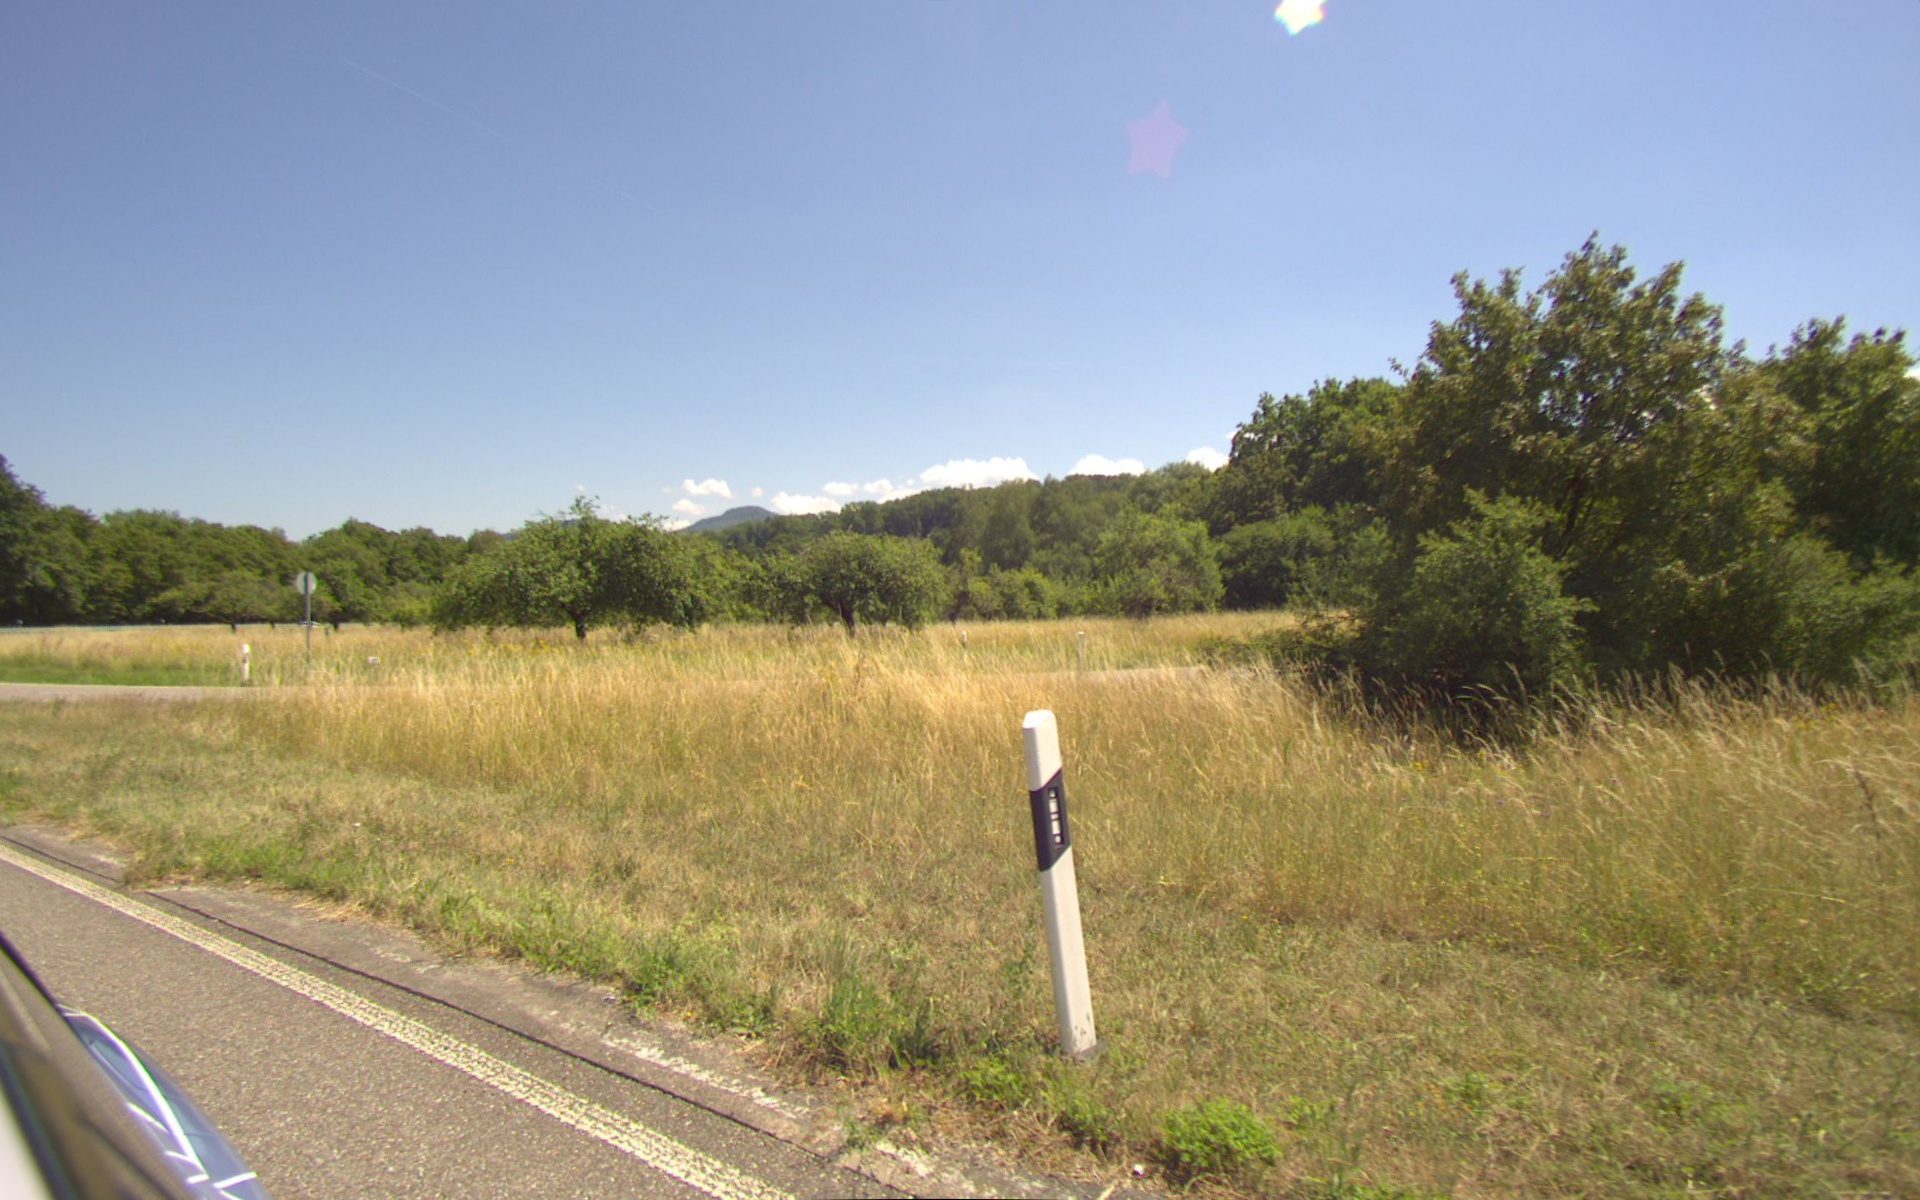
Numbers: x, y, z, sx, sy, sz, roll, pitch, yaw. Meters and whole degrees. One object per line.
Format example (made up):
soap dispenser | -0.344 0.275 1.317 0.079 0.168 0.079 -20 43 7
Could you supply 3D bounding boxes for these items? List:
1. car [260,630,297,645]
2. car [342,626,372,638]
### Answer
car | -77.759 4.291 115.504 1.800 1.518 4.178 1 -3 -7
car | -83.799 4.382 140.706 1.801 1.469 4.404 3 -1 -4
